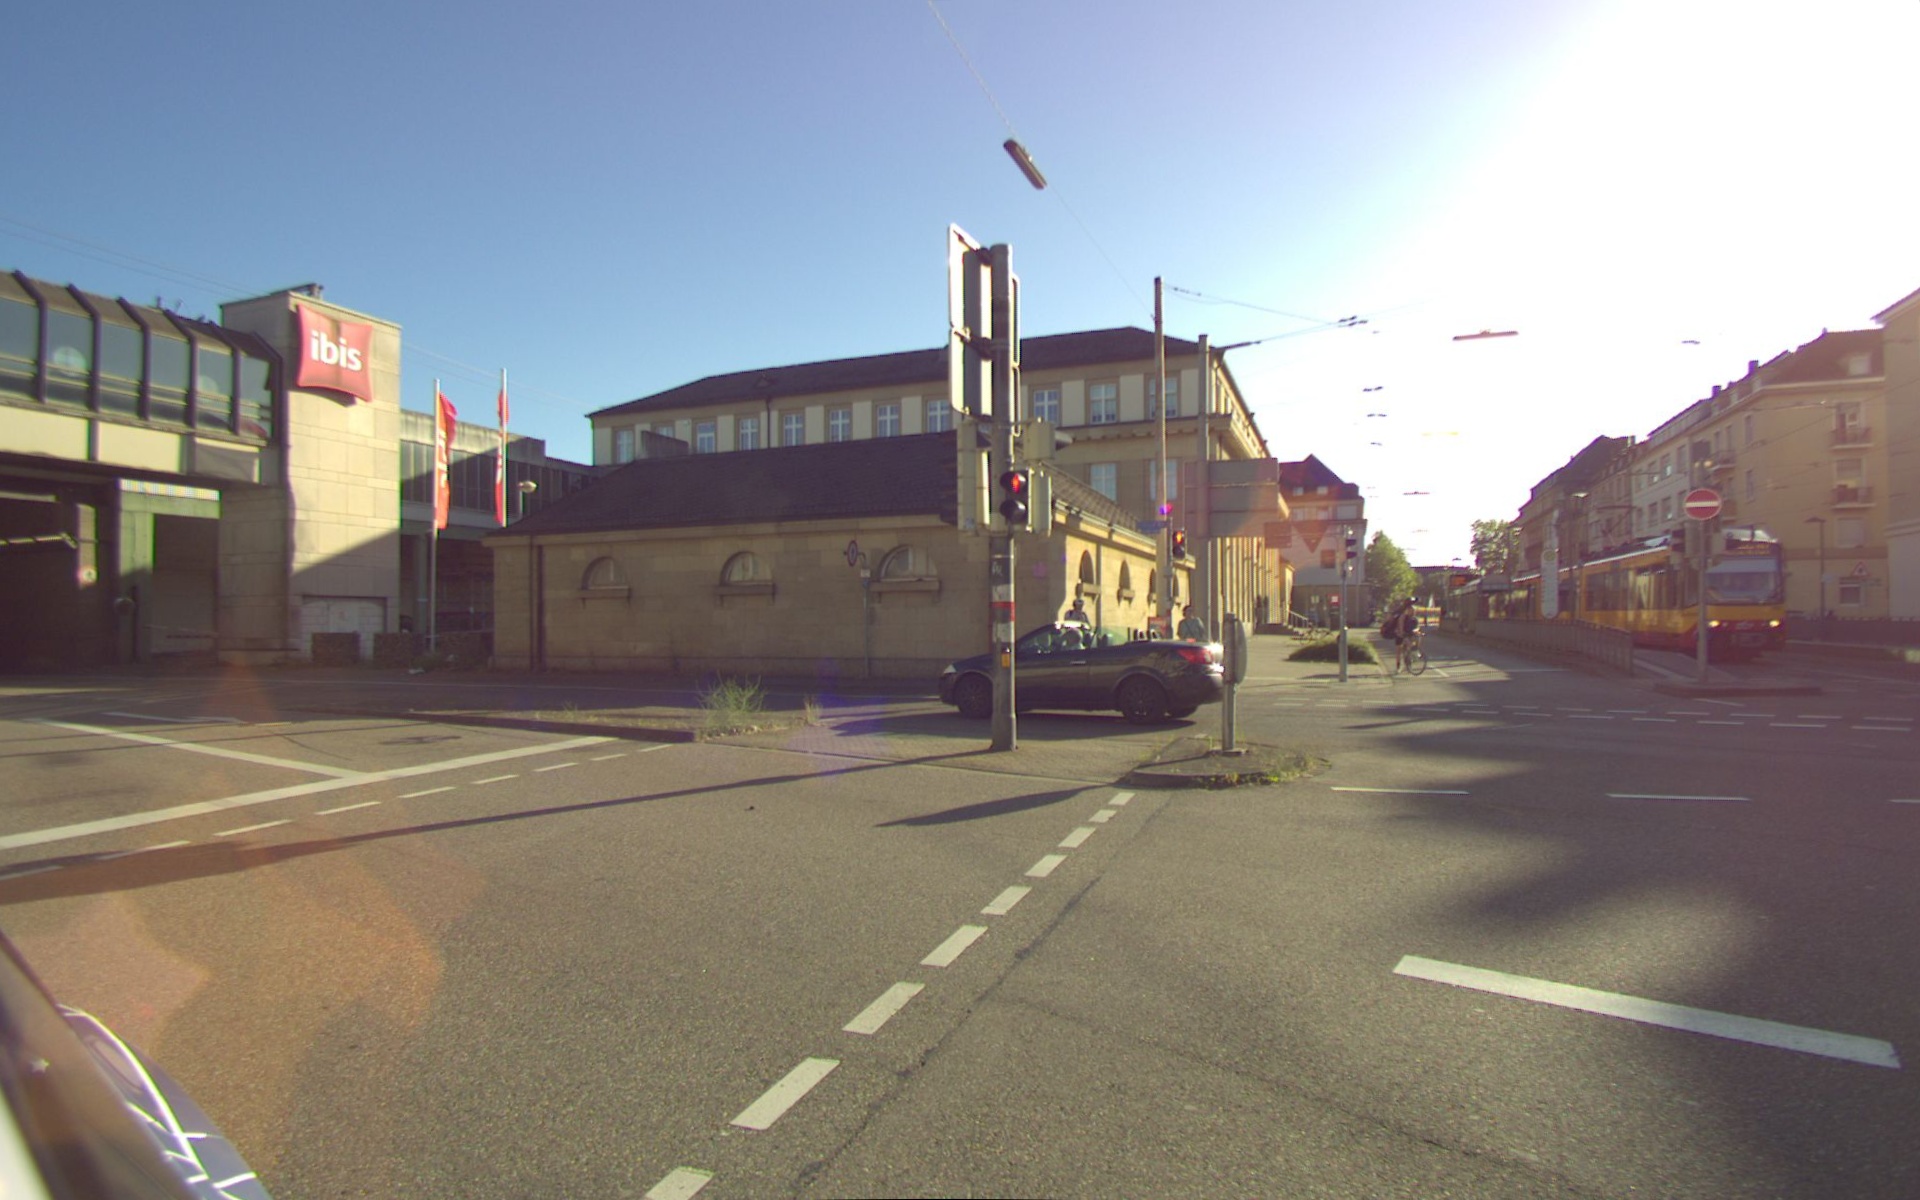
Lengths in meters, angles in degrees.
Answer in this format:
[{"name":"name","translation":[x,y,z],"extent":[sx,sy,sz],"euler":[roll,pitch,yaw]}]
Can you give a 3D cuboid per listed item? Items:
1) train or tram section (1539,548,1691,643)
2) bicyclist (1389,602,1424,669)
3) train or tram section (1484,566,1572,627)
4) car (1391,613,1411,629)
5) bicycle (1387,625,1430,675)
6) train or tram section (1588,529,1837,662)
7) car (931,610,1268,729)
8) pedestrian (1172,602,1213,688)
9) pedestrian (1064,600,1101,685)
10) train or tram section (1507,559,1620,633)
[{"name":"train or tram section","translation":[26.687,-0.148,41.872],"extent":[3.144,3.382,10.604],"euler":[-1,0,21]},{"name":"bicyclist","translation":[11.322,0.890,25.668],"extent":[0.672,1.652,0.935],"euler":[-1,0,17]},{"name":"train or tram section","translation":[34.419,-0.177,61.725],"extent":[3.144,3.382,10.772],"euler":[-1,0,21]},{"name":"car","translation":[50.560,2.412,116.118],"extent":[1.987,1.829,4.338],"euler":[-1,-1,22]},{"name":"bicycle","translation":[11.308,1.237,25.577],"extent":[0.679,1.145,2.063],"euler":[-1,0,16]},{"name":"train or tram section","translation":[22.624,-0.006,31.439],"extent":[3.146,3.346,11.732],"euler":[-1,-1,21]},{"name":"car","translation":[1.887,0.895,14.158],"extent":[4.312,1.436,1.810],"euler":[-1,-1,32]},{"name":"pedestrian","translation":[4.523,0.866,19.700],"extent":[0.616,1.652,0.489],"euler":[0,-1,-5]},{"name":"pedestrian","translation":[2.422,0.829,20.050],"extent":[0.616,1.652,0.515],"euler":[0,-1,-5]},{"name":"train or tram section","translation":[30.551,-0.163,51.746],"extent":[3.144,3.382,10.772],"euler":[-1,0,21]}]
